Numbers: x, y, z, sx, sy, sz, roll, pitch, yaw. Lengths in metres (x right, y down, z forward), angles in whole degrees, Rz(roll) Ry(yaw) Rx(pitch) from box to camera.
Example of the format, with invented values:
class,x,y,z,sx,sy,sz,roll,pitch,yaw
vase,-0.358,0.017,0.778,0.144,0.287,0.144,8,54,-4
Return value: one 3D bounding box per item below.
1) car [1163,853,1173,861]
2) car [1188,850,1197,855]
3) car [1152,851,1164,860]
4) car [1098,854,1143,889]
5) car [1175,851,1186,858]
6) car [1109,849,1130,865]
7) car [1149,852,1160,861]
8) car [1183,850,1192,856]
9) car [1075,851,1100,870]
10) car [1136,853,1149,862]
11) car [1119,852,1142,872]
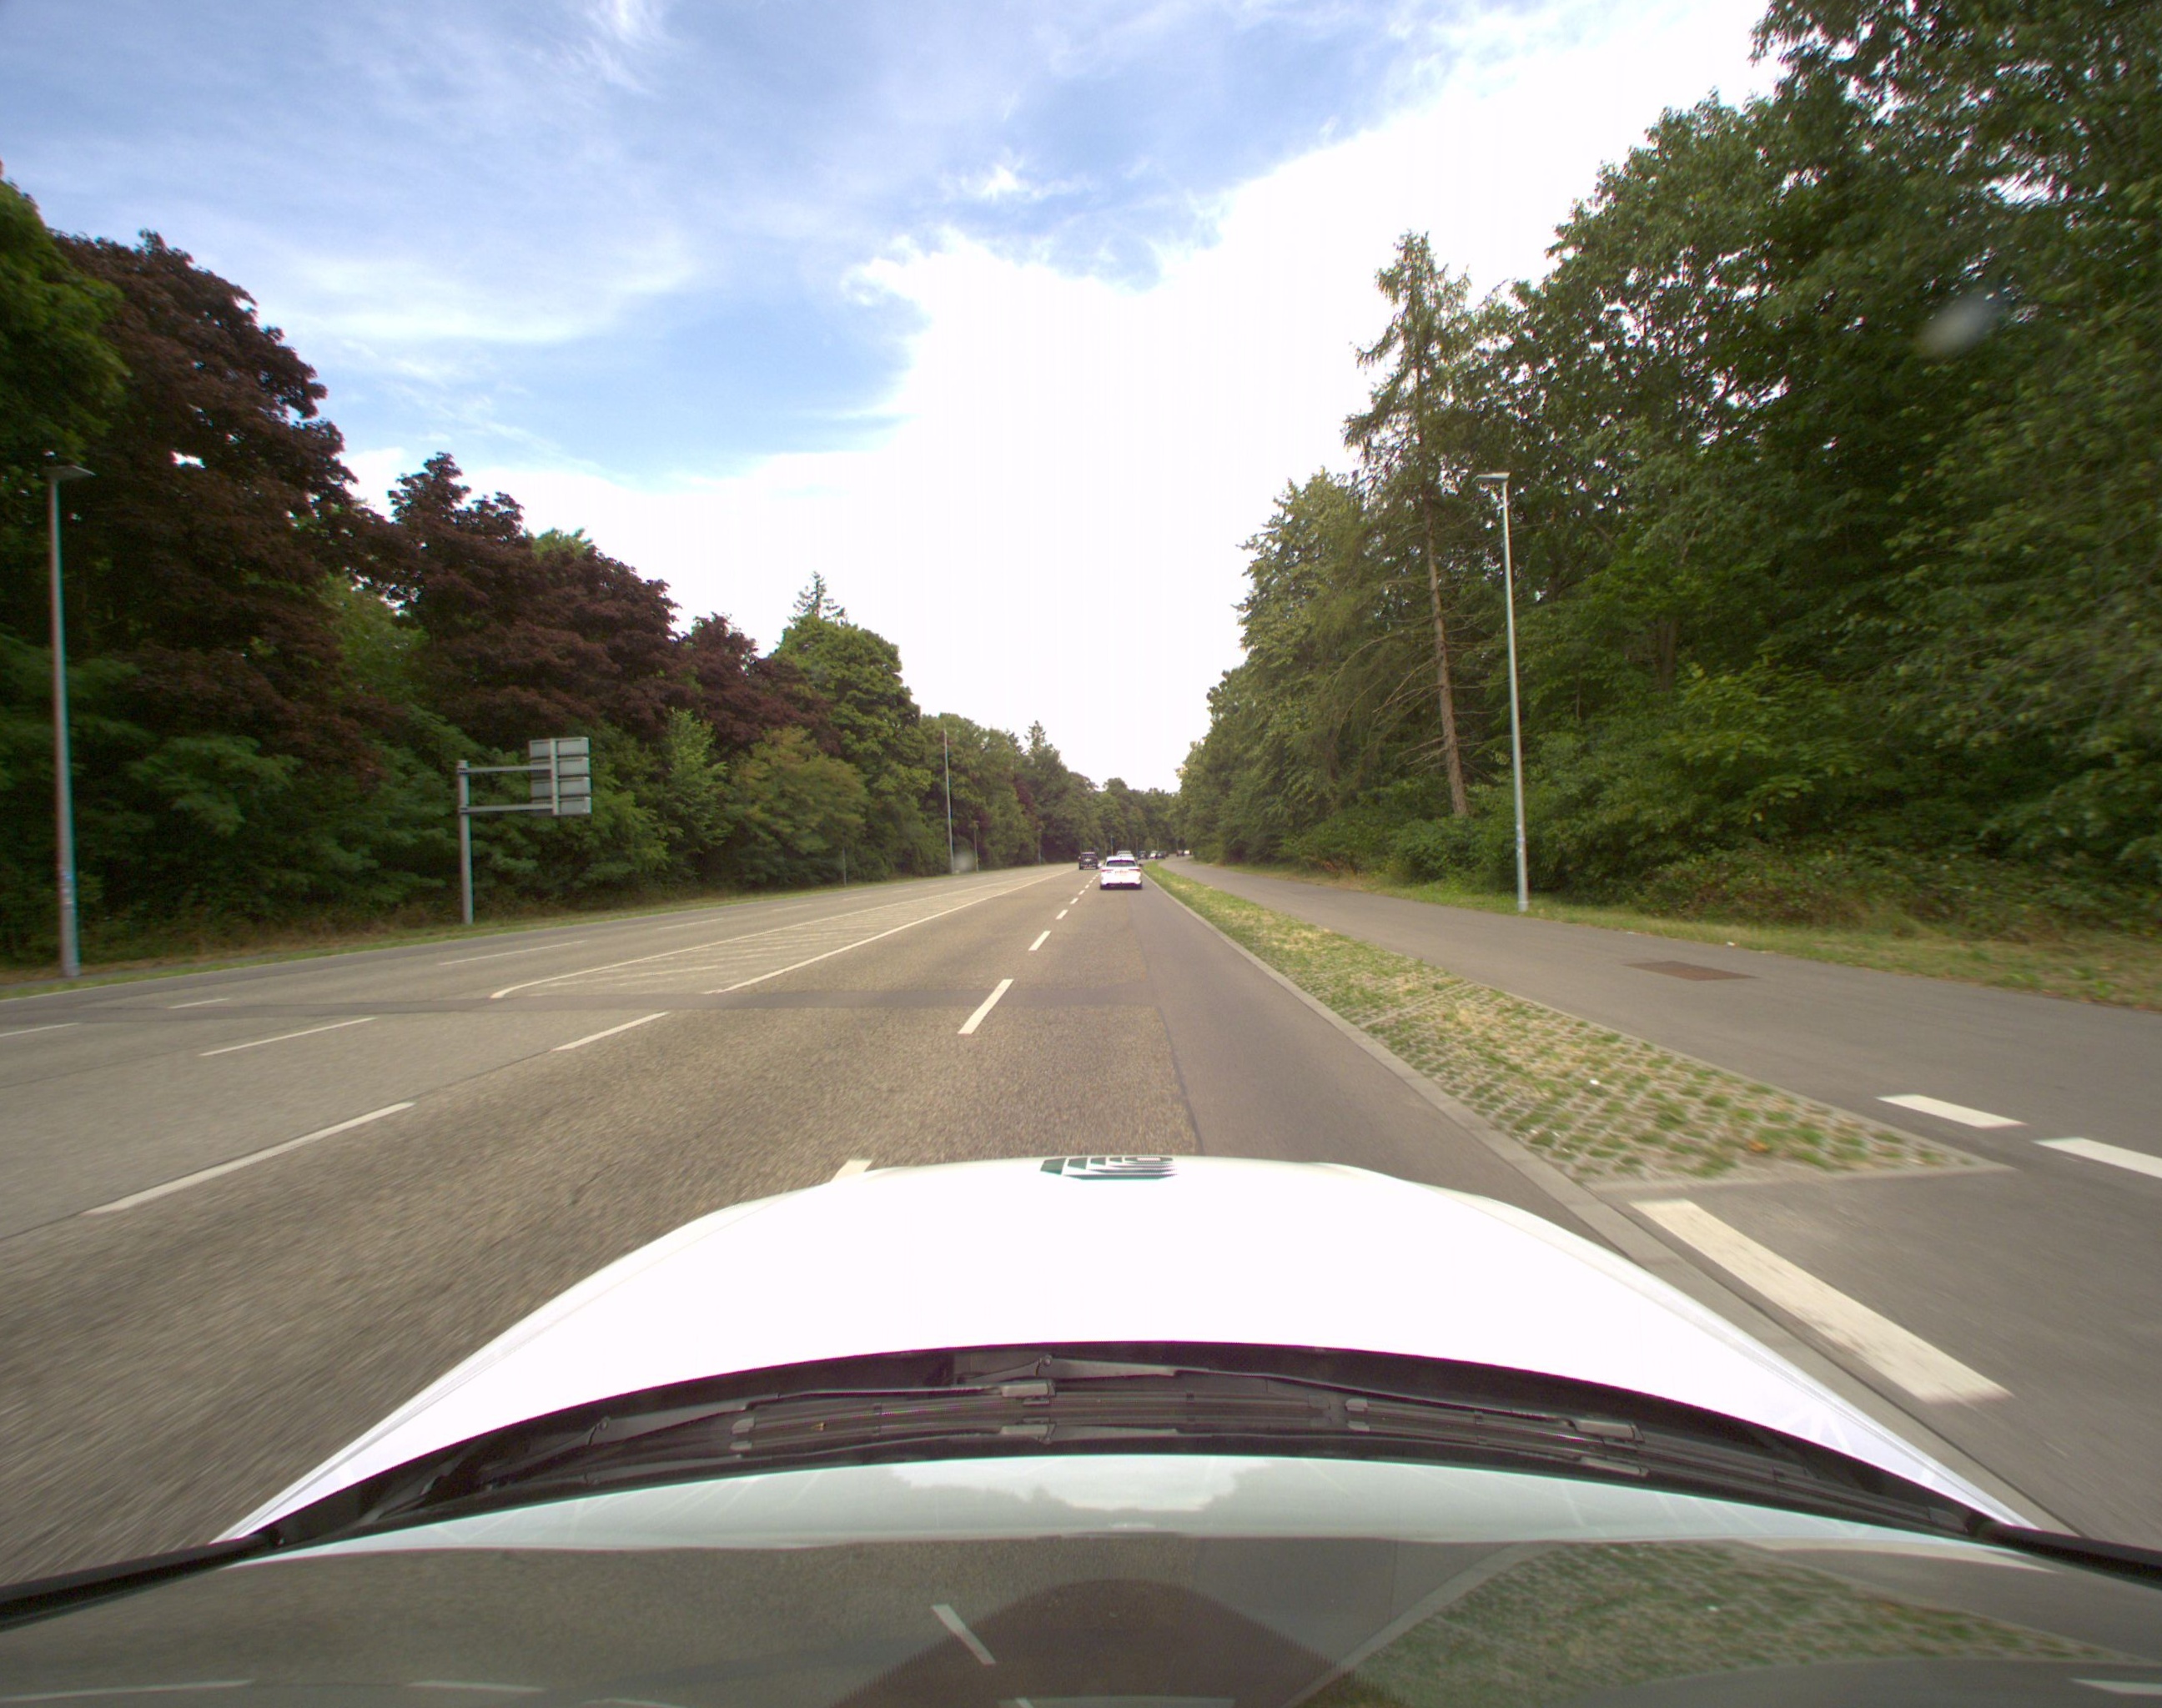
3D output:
class,x,y,z,sx,sy,sz,roll,pitch,yaw
car,21.124,0.795,197.855,1.980,1.783,4.014,0,-1,13
car,31.758,-0.521,232.048,1.979,1.409,4.015,0,-1,15
car,15.323,0.269,161.615,1.981,1.783,4.012,0,-1,11
car,1.723,0.755,35.729,1.829,1.410,4.492,0,-1,2
car,25.229,0.071,206.195,1.978,1.783,4.017,0,-1,17
car,4.028,0.289,84.564,1.983,1.607,4.008,0,1,6
car,16.367,0.548,180.568,1.980,1.783,4.014,0,-1,13
car,32.100,-0.282,245.996,1.873,1.816,4.018,0,-1,18
car,0.680,0.628,78.069,1.984,1.787,4.006,0,-1,6
car,12.204,0.740,160.920,1.981,1.783,4.012,0,-1,11
car,3.707,0.629,60.920,1.628,1.420,4.005,0,-1,5
